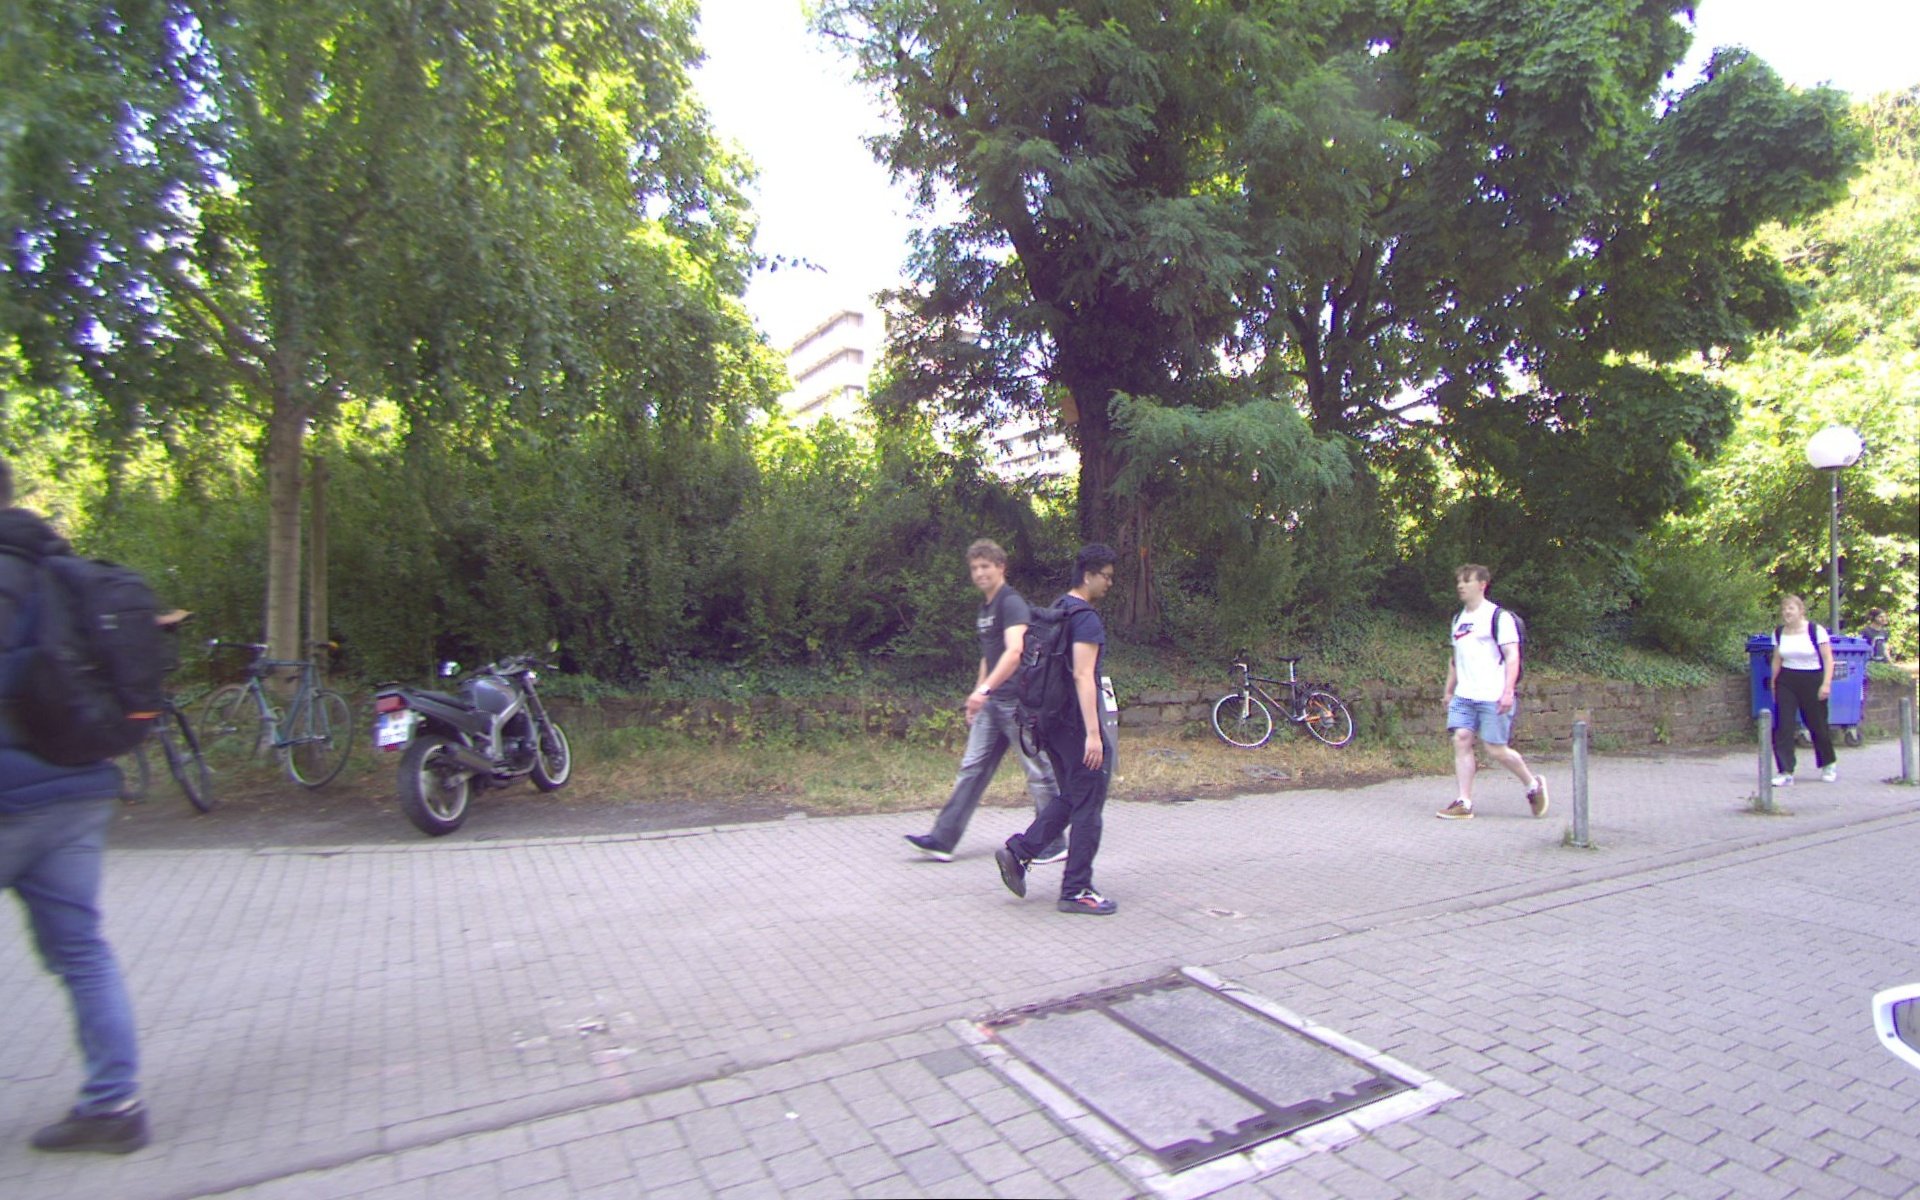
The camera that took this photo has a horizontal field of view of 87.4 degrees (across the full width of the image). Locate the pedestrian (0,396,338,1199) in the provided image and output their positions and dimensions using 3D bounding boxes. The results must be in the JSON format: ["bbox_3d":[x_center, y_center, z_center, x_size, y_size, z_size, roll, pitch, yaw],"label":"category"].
[{"bbox_3d":[-2.428,0.511,2.615,1.011,1.882,0.889,1,0,10],"label":"pedestrian"}]

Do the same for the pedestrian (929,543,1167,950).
[{"bbox_3d":[0.418,0.634,4.840,0.894,1.747,0.680,1,0,-32],"label":"pedestrian"}]

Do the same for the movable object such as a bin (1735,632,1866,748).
[{"bbox_3d":[10.530,1.107,12.595,1.220,1.354,0.708,1,1,-20],"label":"movable object such as a bin"}]

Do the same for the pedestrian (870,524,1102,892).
[{"bbox_3d":[0.155,0.572,5.782,1.110,1.897,0.678,2,-1,-35],"label":"pedestrian"}]

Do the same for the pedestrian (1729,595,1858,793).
[{"bbox_3d":[7.866,0.850,9.479,0.992,1.751,0.678,2,-1,-34],"label":"pedestrian"}]

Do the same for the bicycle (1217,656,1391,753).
[{"bbox_3d":[3.512,1.068,10.243,1.711,0.922,0.421,3,-1,-15],"label":"bicycle"}]

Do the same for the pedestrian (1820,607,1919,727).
[{"bbox_3d":[13.885,0.996,15.357,0.671,1.751,1.021,1,-1,10],"label":"pedestrian"}]

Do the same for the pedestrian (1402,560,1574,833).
[{"bbox_3d":[4.004,0.689,7.610,1.071,1.906,0.719,2,-1,-35],"label":"pedestrian"}]

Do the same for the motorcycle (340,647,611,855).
[{"bbox_3d":[-3.102,0.896,6.691,0.464,1.061,2.027,1,1,13],"label":"motorcycle"}]

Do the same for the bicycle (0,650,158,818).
[{"bbox_3d":[-6.481,0.896,6.757,0.465,1.061,1.700,1,-1,19],"label":"bicycle"}]

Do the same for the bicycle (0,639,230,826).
[{"bbox_3d":[-5.872,0.834,6.654,0.465,1.061,1.699,2,1,19],"label":"bicycle"}]

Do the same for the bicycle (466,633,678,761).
[{"bbox_3d":[-3.426,0.861,8.960,1.668,1.061,0.473,2,1,-9],"label":"bicycle"}]

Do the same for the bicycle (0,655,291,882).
[{"bbox_3d":[-4.884,0.889,5.669,0.531,1.061,1.909,1,0,19],"label":"bicycle"}]

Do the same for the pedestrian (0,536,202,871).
[{"bbox_3d":[-5.102,0.551,5.802,0.664,1.747,0.938,-1,-1,18],"label":"pedestrian"}]
